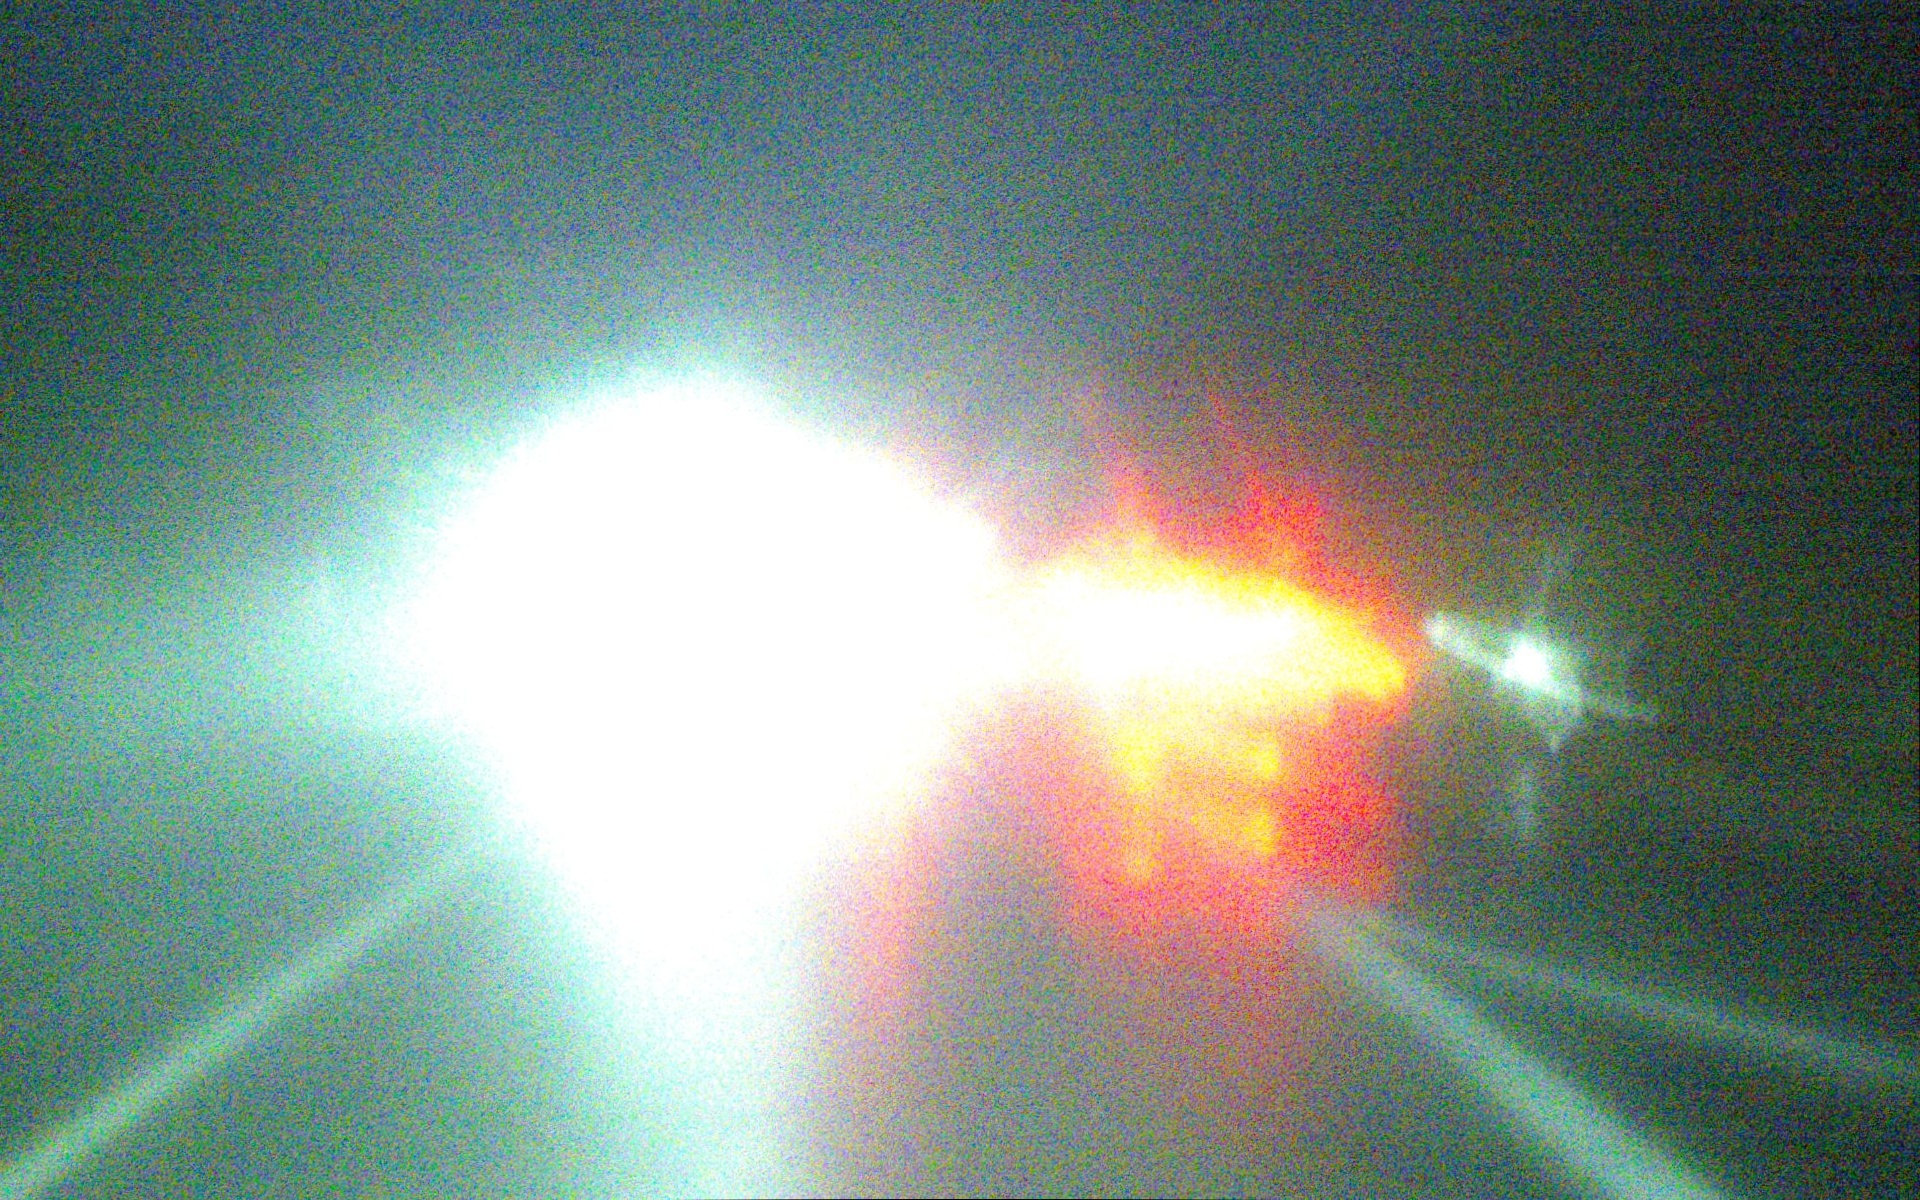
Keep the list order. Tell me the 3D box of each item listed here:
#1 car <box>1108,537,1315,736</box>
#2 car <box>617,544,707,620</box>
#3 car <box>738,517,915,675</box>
[{"bbox_3d":[2.700,0.351,37.380,2.093,2.007,4.000,1,1,3],"label":"car"},{"bbox_3d":[-6.553,-0.410,75.354,1.808,1.616,4.001,1,1,-7],"label":"car"},{"bbox_3d":[-1.503,-0.069,37.500,1.808,1.616,4.001,1,1,-4],"label":"car"}]
